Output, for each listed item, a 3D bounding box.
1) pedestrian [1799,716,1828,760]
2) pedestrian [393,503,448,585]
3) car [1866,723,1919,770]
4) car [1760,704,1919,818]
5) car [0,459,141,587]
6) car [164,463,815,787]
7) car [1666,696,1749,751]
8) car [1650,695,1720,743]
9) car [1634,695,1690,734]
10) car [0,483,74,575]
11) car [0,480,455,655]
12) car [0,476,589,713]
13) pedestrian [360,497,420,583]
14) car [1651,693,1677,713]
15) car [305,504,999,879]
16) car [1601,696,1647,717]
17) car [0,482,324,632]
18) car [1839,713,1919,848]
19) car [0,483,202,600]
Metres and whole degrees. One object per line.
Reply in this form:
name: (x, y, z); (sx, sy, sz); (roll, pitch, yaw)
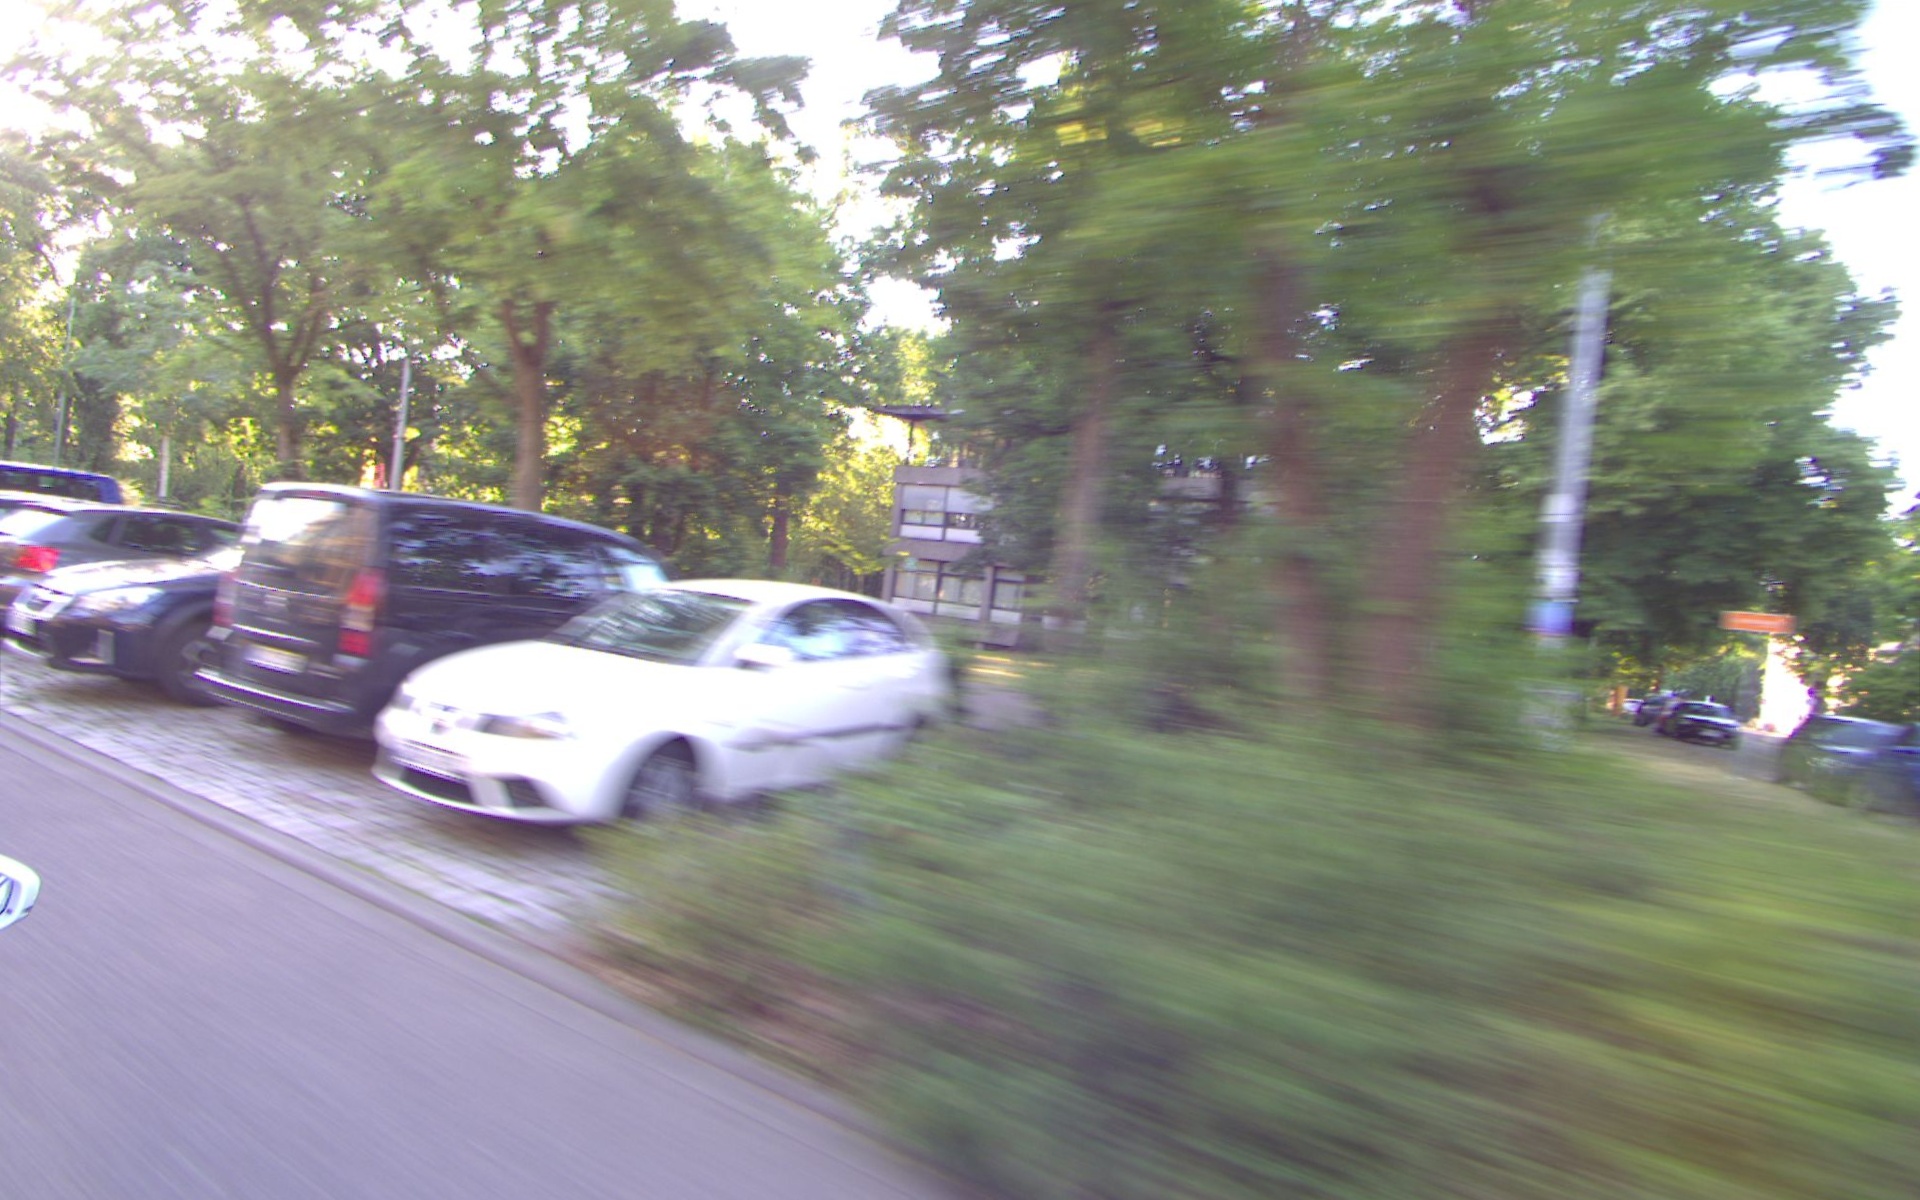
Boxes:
pedestrian: (38.545, 6.214, 45.445); (0.709, 1.860, 0.739); (7, 0, 29)
pedestrian: (-12.595, -1.296, 23.479); (0.776, 1.794, 0.648); (6, 0, 27)
car: (38.503, 5.977, 40.657); (1.967, 1.626, 3.764); (7, -1, 31)
car: (15.337, 2.692, 17.352); (1.708, 1.495, 3.993); (7, -1, 31)
car: (-16.440, -1.391, 16.020); (1.884, 1.940, 4.856); (7, 1, 30)
car: (-3.353, 0.173, 8.118); (1.888, 1.803, 4.366); (7, 1, 30)
car: (25.452, 4.169, 34.373); (1.708, 1.495, 3.993); (7, -1, 31)
car: (28.316, 4.607, 39.399); (1.708, 1.495, 3.993); (7, -1, 31)
car: (32.918, 5.337, 47.235); (1.708, 1.495, 3.993); (7, -1, 31)
car: (-18.799, -1.458, 17.313); (1.884, 1.574, 4.930); (7, 1, 30)
car: (-8.280, -0.292, 11.185); (1.888, 1.557, 4.366); (7, 1, 30)
car: (-5.845, -0.017, 9.168); (1.844, 1.574, 4.366); (7, 1, 30)
pedestrian: (-12.714, -1.332, 22.436); (0.772, 1.794, 0.665); (8, 1, 27)
car: (85.816, 12.553, 122.638); (1.966, 2.038, 3.995); (7, -1, 29)
car: (-1.572, 0.459, 6.750); (1.698, 1.574, 4.366); (7, 1, 30)
car: (72.361, 11.626, 109.731); (3.934, 1.682, 1.996); (7, 0, 32)
car: (-10.597, -0.530, 12.267); (1.888, 1.557, 4.366); (7, 1, 30)
car: (12.512, 2.288, 12.289); (1.805, 1.459, 4.146); (7, -1, 31)
car: (-14.520, -0.976, 14.850); (1.884, 1.574, 4.930); (7, 1, 30)
